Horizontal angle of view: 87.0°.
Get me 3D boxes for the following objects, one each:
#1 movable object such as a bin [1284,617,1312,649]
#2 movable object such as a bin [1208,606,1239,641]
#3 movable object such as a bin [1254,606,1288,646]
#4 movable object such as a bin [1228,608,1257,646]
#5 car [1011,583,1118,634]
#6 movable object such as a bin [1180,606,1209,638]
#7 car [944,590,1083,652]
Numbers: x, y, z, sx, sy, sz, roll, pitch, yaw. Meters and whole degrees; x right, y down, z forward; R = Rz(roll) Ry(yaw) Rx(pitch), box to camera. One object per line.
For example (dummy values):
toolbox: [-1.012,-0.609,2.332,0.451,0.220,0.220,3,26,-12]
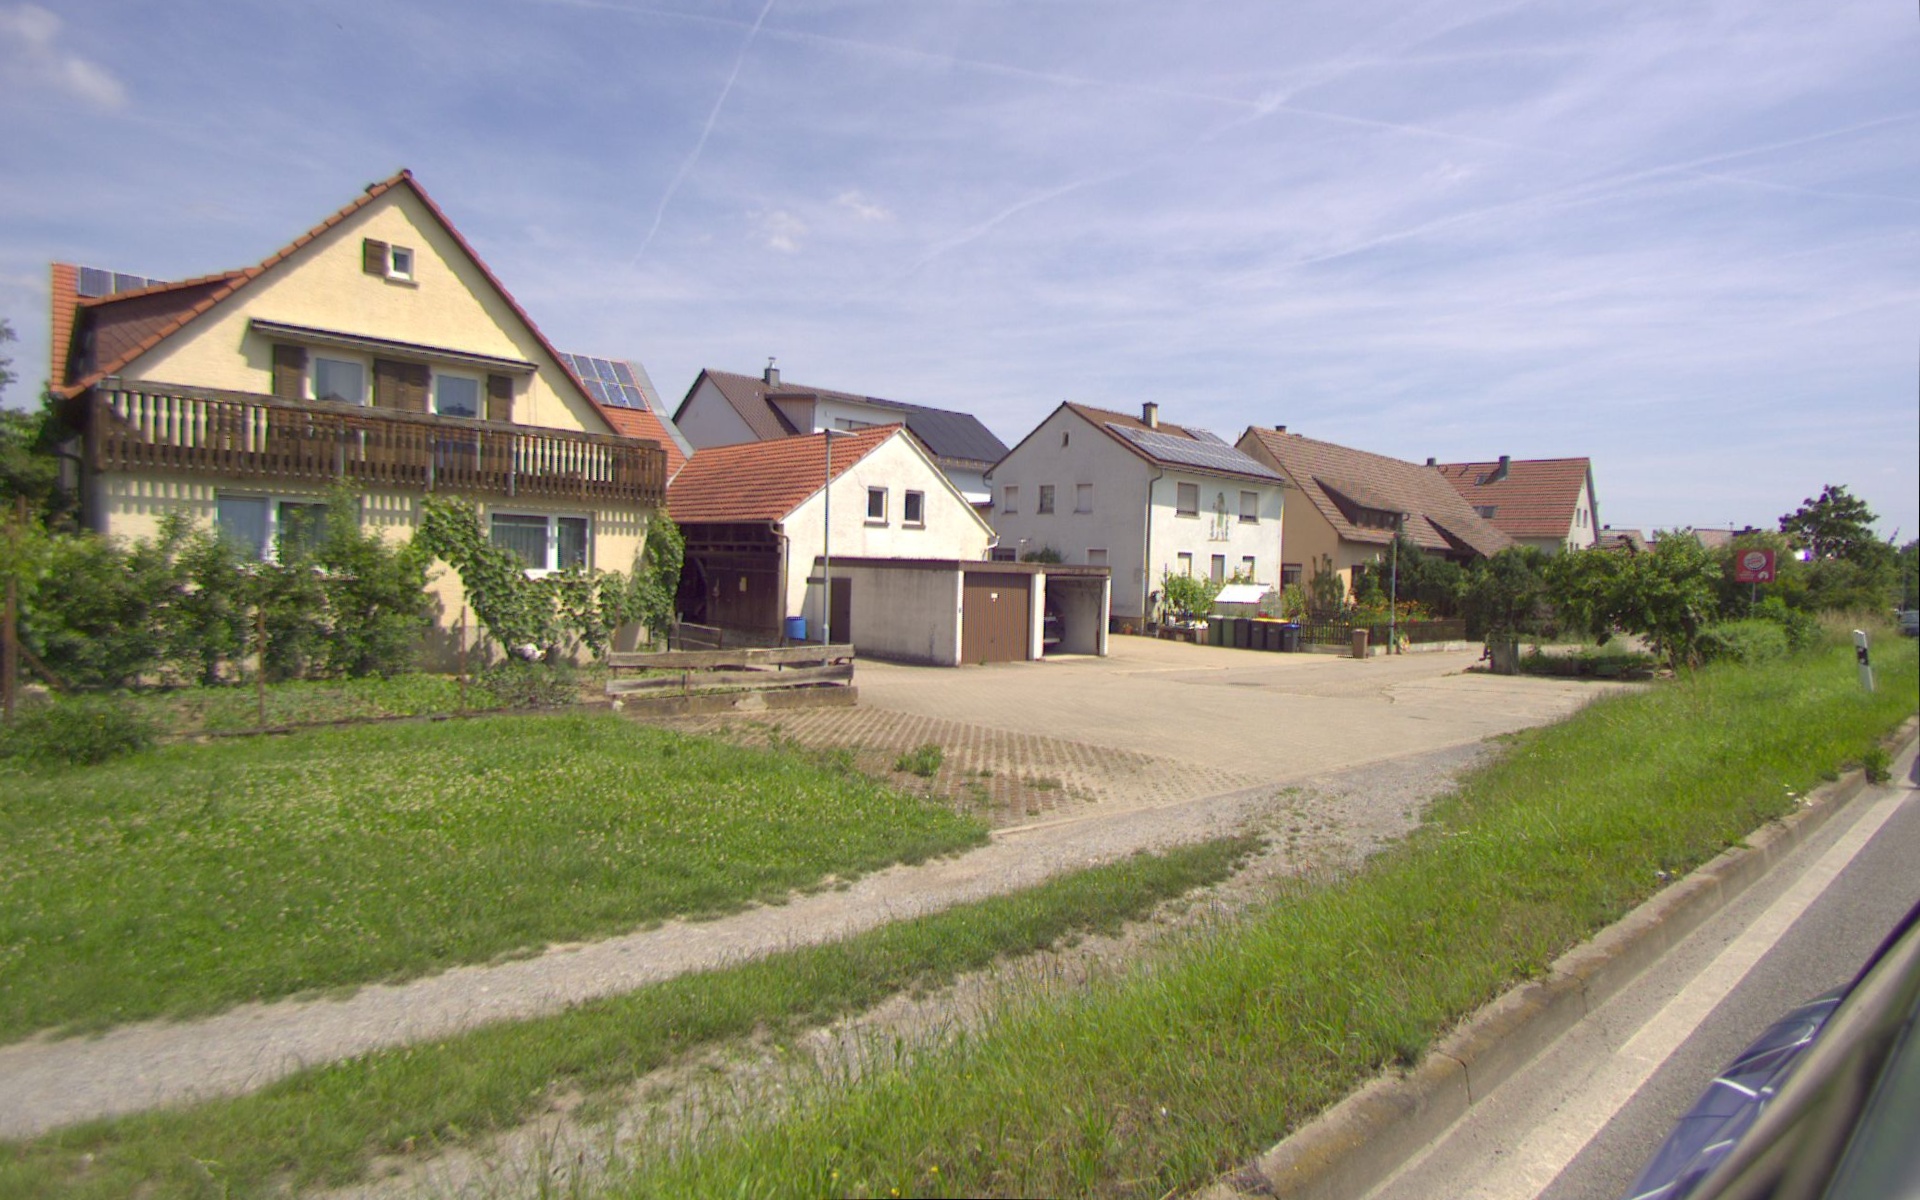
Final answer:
movable object such as a bin: [11.611,1.123,34.750,0.743,1.040,0.645,1,-1,-42]
movable object such as a bin: [9.740,0.854,37.449,0.874,1.262,0.744,1,-1,-42]
movable object such as a bin: [10.897,0.902,35.456,0.930,1.387,0.764,1,-1,-42]
movable object such as a bin: [10.248,0.979,36.671,0.806,1.355,0.677,1,-1,-42]
car: [4.061,0.293,39.652,1.796,1.755,3.995,0,3,-41]
movable object such as a bin: [8.796,0.809,37.950,0.816,1.171,0.739,1,-1,-42]
car: [1.486,0.567,29.443,1.794,1.624,3.995,1,1,-40]
